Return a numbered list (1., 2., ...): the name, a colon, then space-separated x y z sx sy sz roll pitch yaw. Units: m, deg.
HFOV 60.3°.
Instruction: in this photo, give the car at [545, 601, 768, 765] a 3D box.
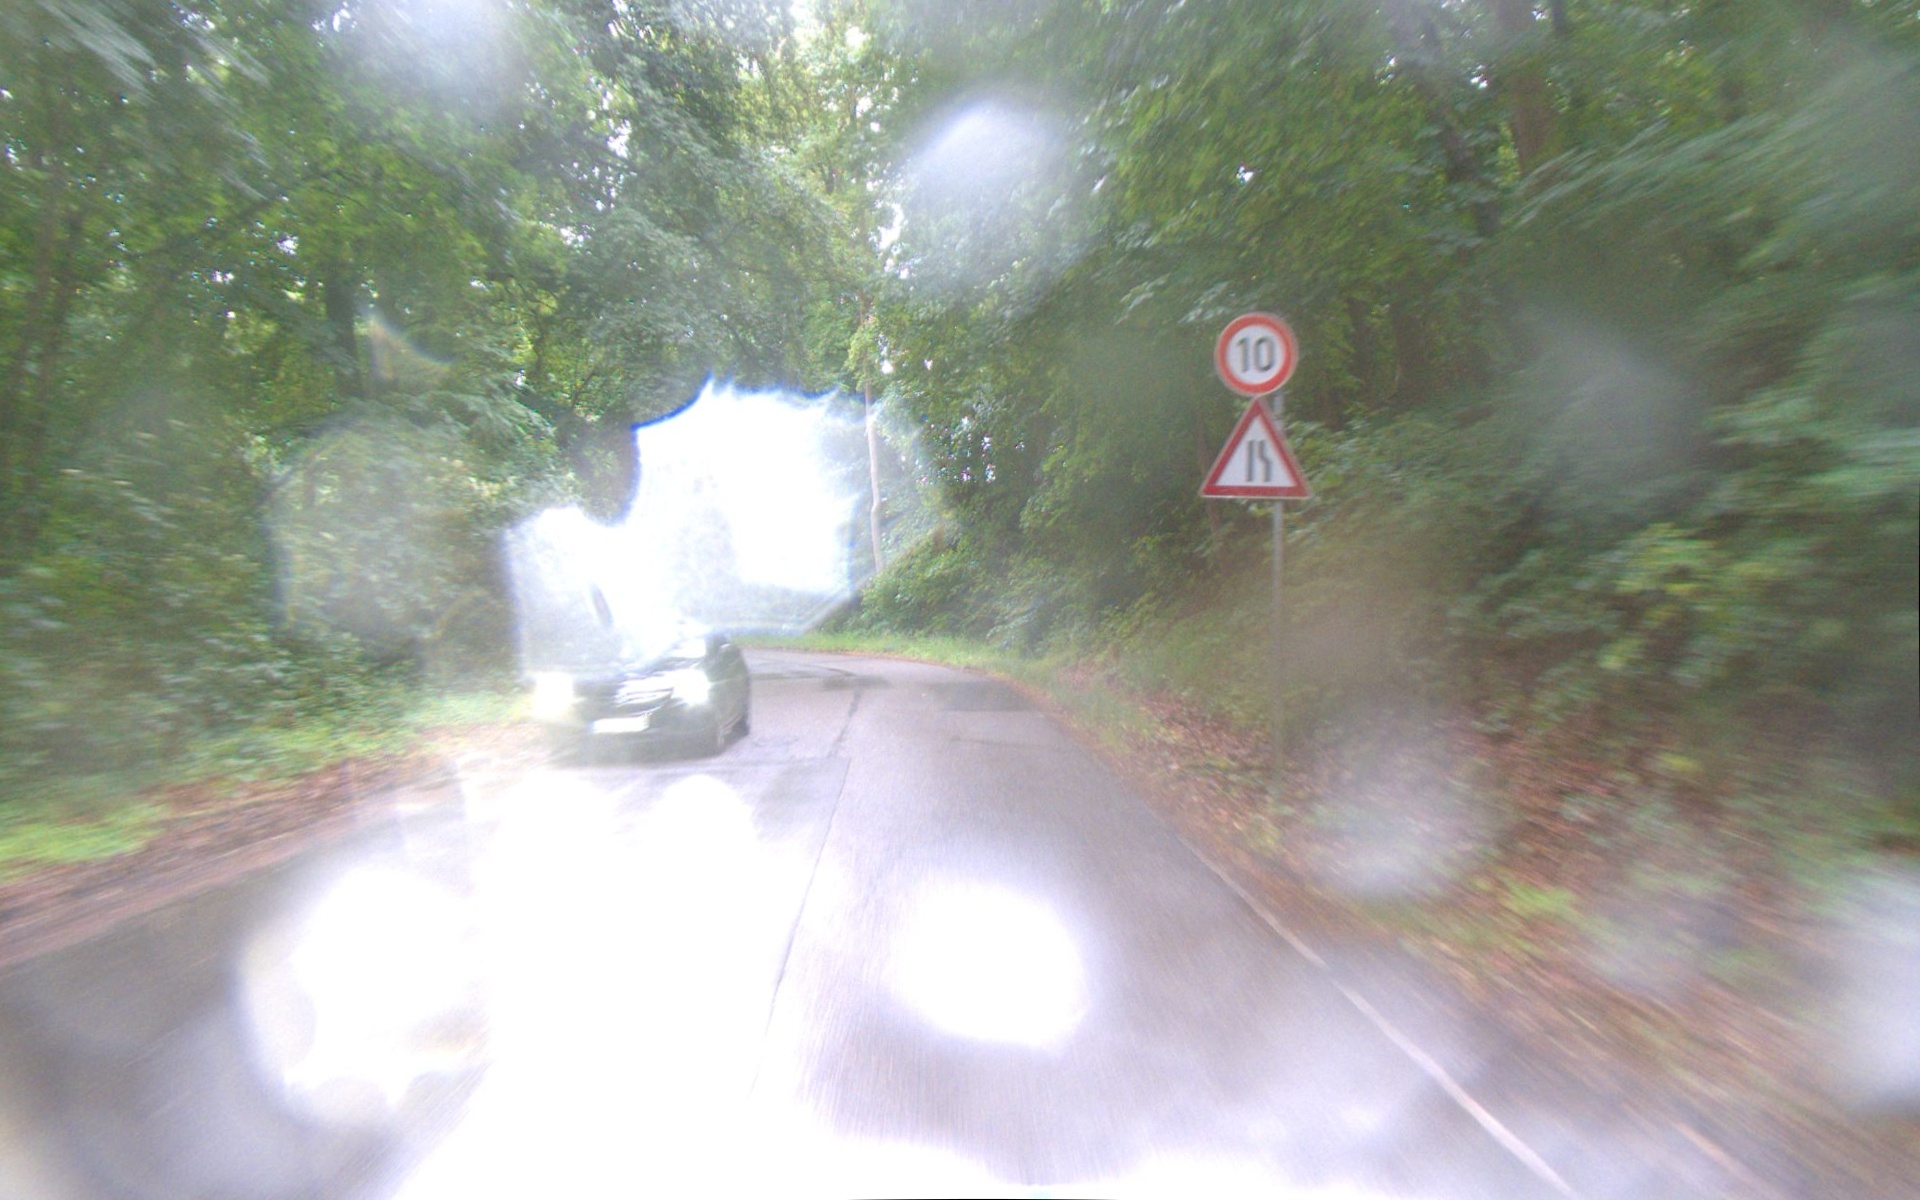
1. car: -3.175 0.818 18.012 1.679 1.501 3.890 -3 0 -1
